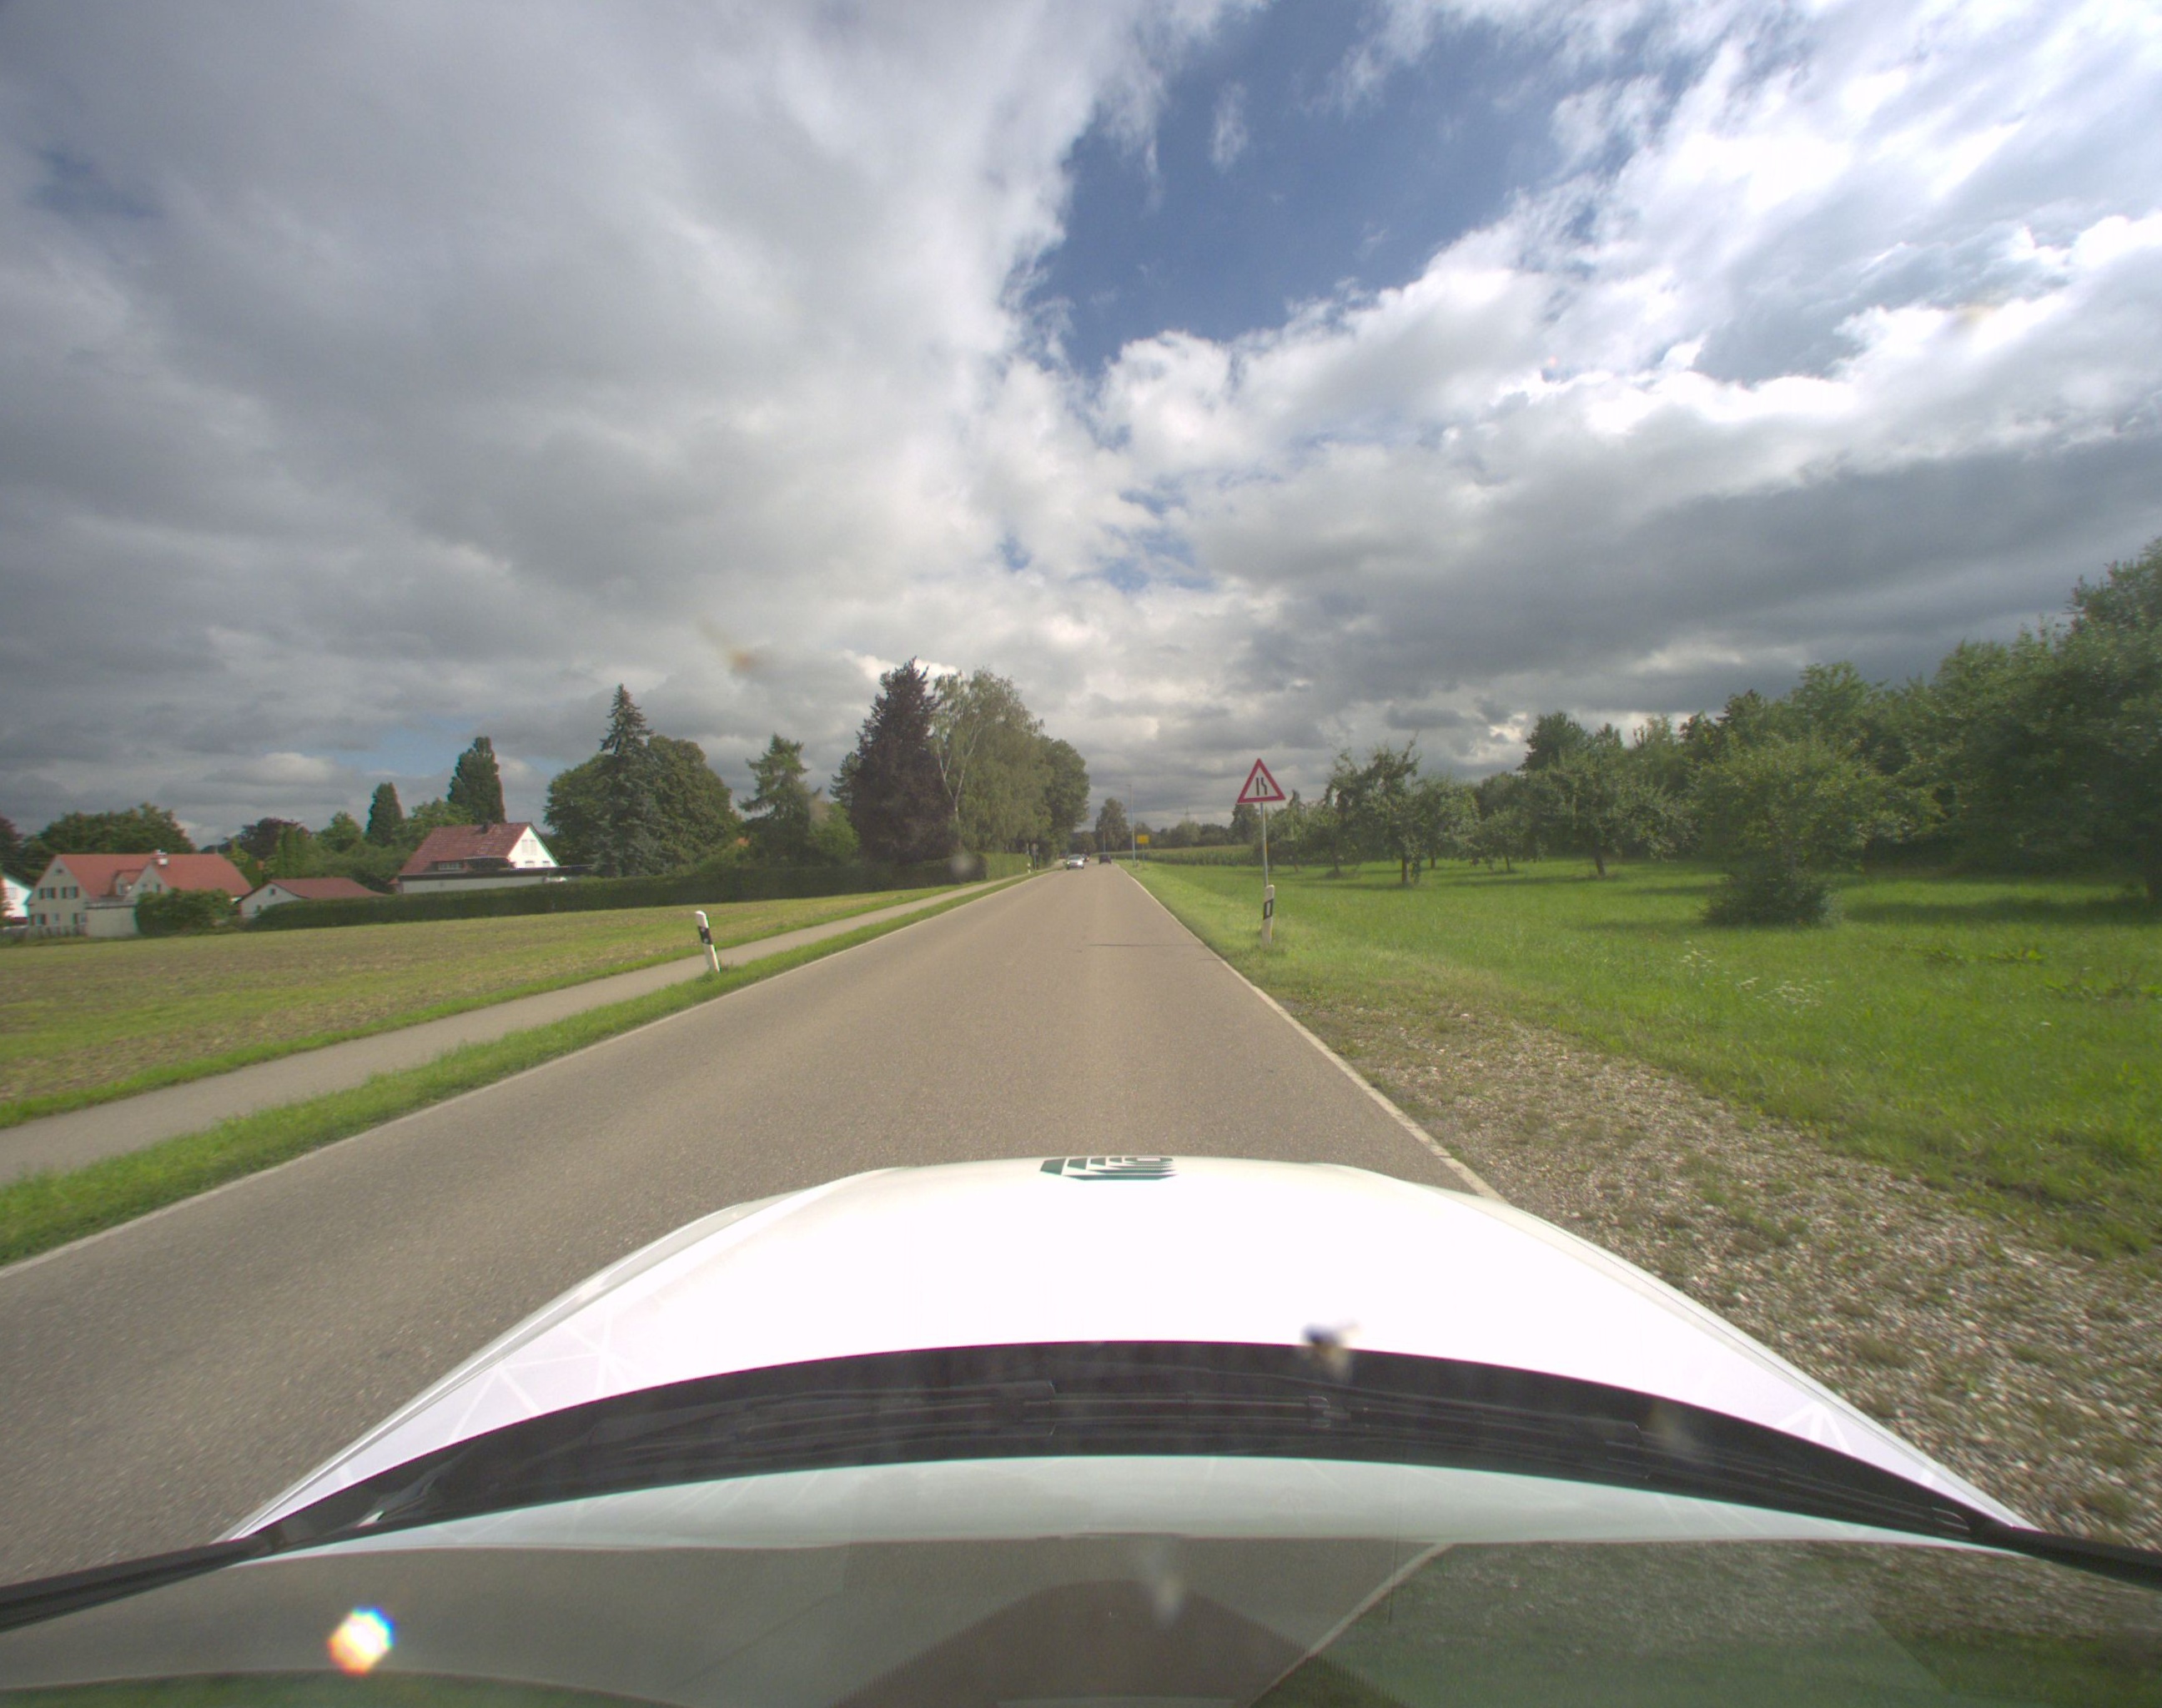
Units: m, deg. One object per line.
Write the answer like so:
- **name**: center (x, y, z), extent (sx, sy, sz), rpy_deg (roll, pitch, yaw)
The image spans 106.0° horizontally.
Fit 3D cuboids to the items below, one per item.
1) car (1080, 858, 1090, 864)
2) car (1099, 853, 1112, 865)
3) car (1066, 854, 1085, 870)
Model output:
- **car**: center (0.849, 1.392, 165.732), extent (1.739, 1.222, 3.544), rpy_deg (-3, -1, 2)
- **car**: center (3.795, 0.810, 127.438), extent (1.900, 1.666, 3.999), rpy_deg (-4, 0, 0)
- **car**: center (-0.560, 0.807, 82.608), extent (1.688, 1.459, 3.544), rpy_deg (-3, 0, 2)
